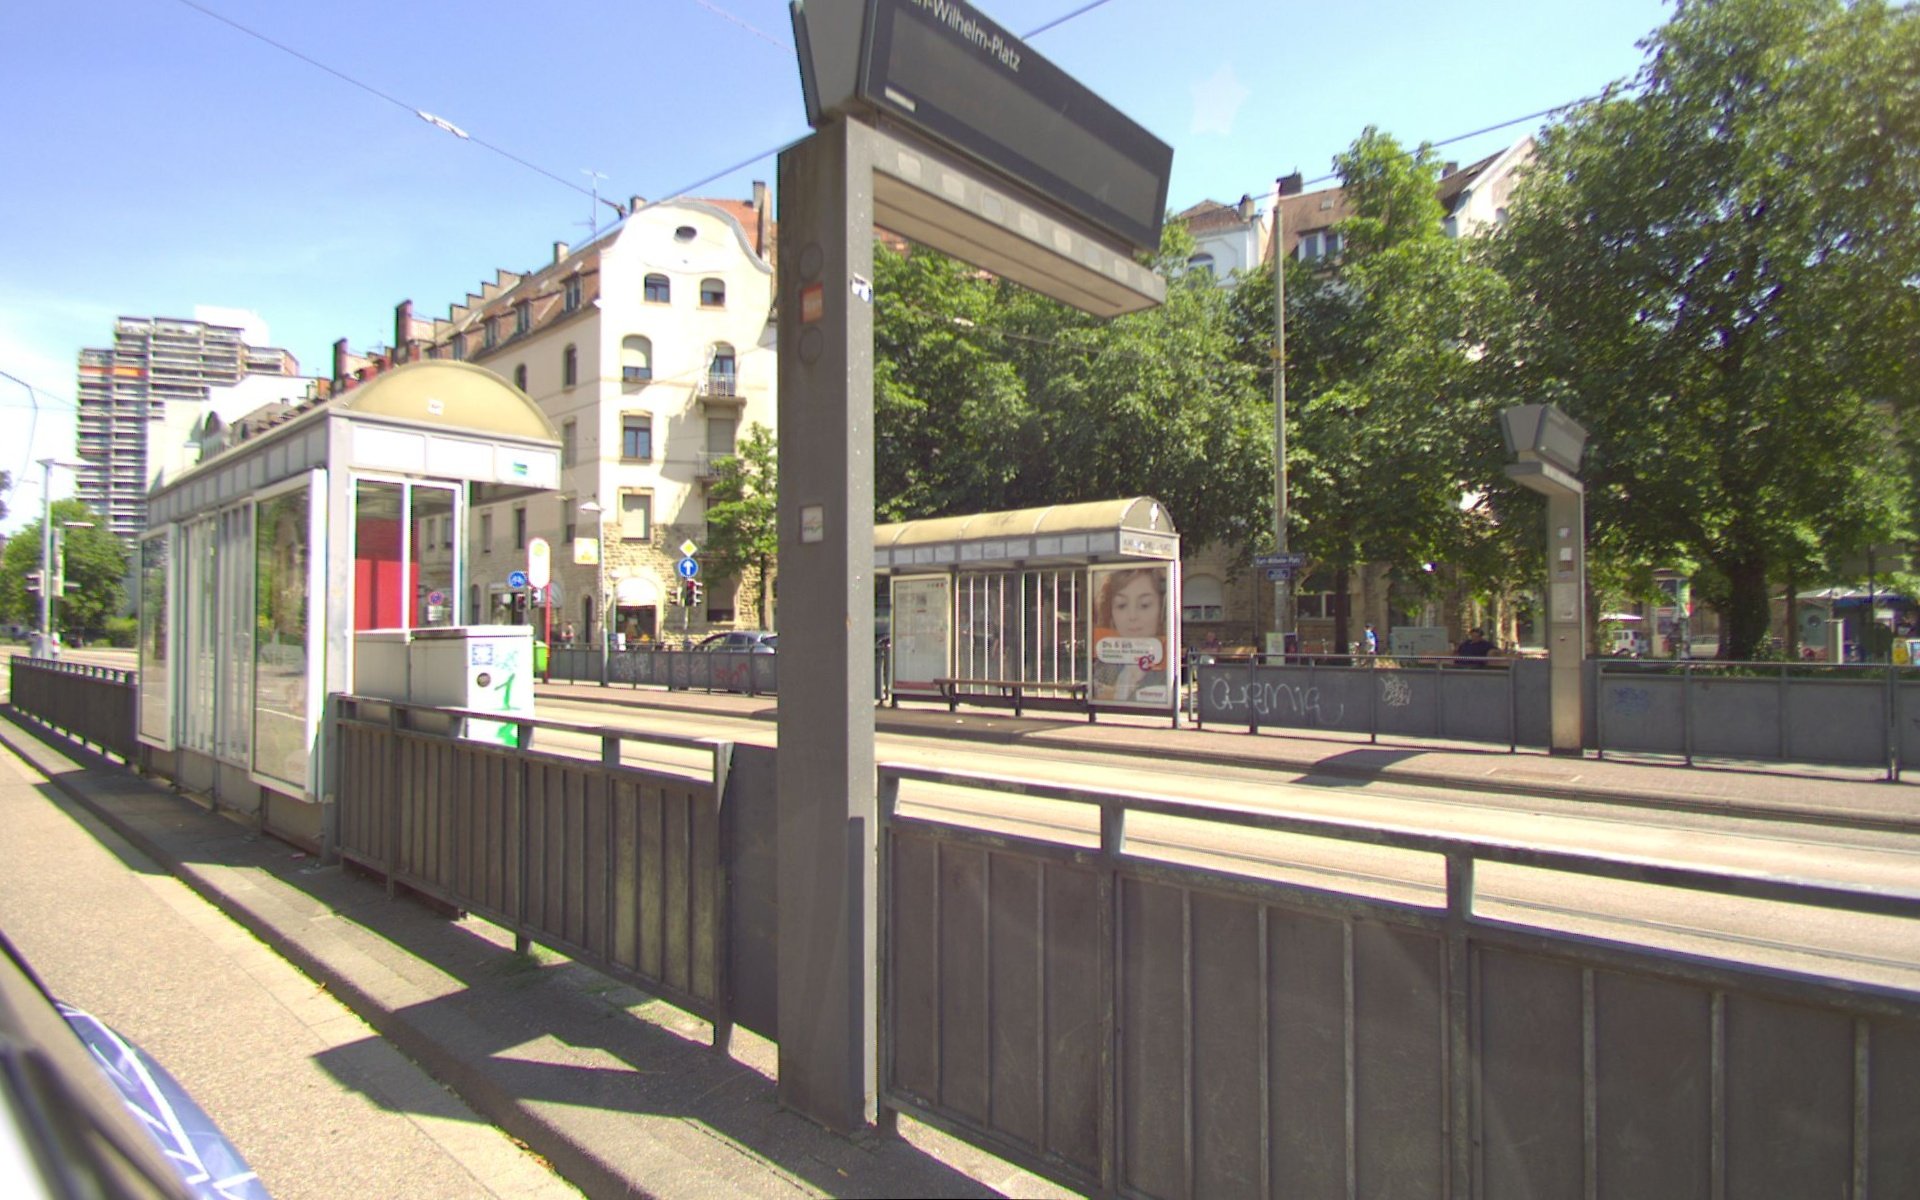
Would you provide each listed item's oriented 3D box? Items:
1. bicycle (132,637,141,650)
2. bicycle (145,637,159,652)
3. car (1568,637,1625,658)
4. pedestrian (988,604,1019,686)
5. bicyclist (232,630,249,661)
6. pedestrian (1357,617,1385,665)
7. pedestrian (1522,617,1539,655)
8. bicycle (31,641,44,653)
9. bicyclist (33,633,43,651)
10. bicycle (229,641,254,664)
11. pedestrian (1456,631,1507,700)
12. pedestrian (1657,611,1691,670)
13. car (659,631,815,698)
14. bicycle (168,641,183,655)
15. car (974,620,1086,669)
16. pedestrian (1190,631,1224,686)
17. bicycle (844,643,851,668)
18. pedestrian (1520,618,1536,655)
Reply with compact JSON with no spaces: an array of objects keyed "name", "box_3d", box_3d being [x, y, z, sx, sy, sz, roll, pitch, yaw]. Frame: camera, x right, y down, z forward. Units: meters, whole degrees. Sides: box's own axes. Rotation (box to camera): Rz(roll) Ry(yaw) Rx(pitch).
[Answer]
[{"name":"bicycle","box_3d":[-65.829,3.463,80.876,1.899,1.054,0.286,-1,-2,42]},{"name":"bicycle","box_3d":[-61.694,3.401,77.242,2.046,1.105,0.487,-2,-2,42]},{"name":"car","box_3d":[27.185,2.024,43.259,1.899,0.872,0.856,-1,-1,17]},{"name":"pedestrian","box_3d":[1.017,1.053,23.717,0.504,1.893,0.494,1,-2,-44]},{"name":"bicyclist","box_3d":[-38.116,2.393,53.605,0.585,1.586,0.602,-1,-2,42]},{"name":"pedestrian","box_3d":[15.318,1.501,37.740,0.606,1.764,0.719,0,-1,-25]},{"name":"pedestrian","box_3d":[25.276,1.595,44.814,0.560,1.635,0.507,-1,-2,41]},{"name":"bicycle","box_3d":[-82.909,4.246,90.980,2.185,1.083,0.637,-2,-3,42]},{"name":"bicyclist","box_3d":[-82.938,3.767,91.051,0.579,1.676,0.603,-2,-3,41]},{"name":"bicycle","box_3d":[-38.040,2.770,53.567,1.977,1.166,0.621,-2,-2,42]},{"name":"pedestrian","box_3d":[10.072,1.255,19.560,0.637,1.297,0.618,0,-1,2]},{"name":"pedestrian","box_3d":[24.884,1.407,35.259,0.801,2.029,0.717,1,-3,-37]},{"name":"car","box_3d":[-5.065,1.397,22.757,3.716,1.349,1.525,-1,-1,40]},{"name":"bicycle","box_3d":[-55.476,3.400,71.554,1.953,0.955,0.457,-2,-2,42]},{"name":"car","box_3d":[2.364,1.478,34.122,3.554,1.587,1.575,-1,-1,15]},{"name":"pedestrian","box_3d":[5.780,1.353,23.712,0.637,1.265,0.549,0,-1,2]},{"name":"bicycle","box_3d":[-4.581,2.250,41.214,0.286,0.981,1.675,0,-1,-6]},{"name":"pedestrian","box_3d":[24.937,1.589,44.414,0.526,1.635,0.491,-1,-2,41]}]
